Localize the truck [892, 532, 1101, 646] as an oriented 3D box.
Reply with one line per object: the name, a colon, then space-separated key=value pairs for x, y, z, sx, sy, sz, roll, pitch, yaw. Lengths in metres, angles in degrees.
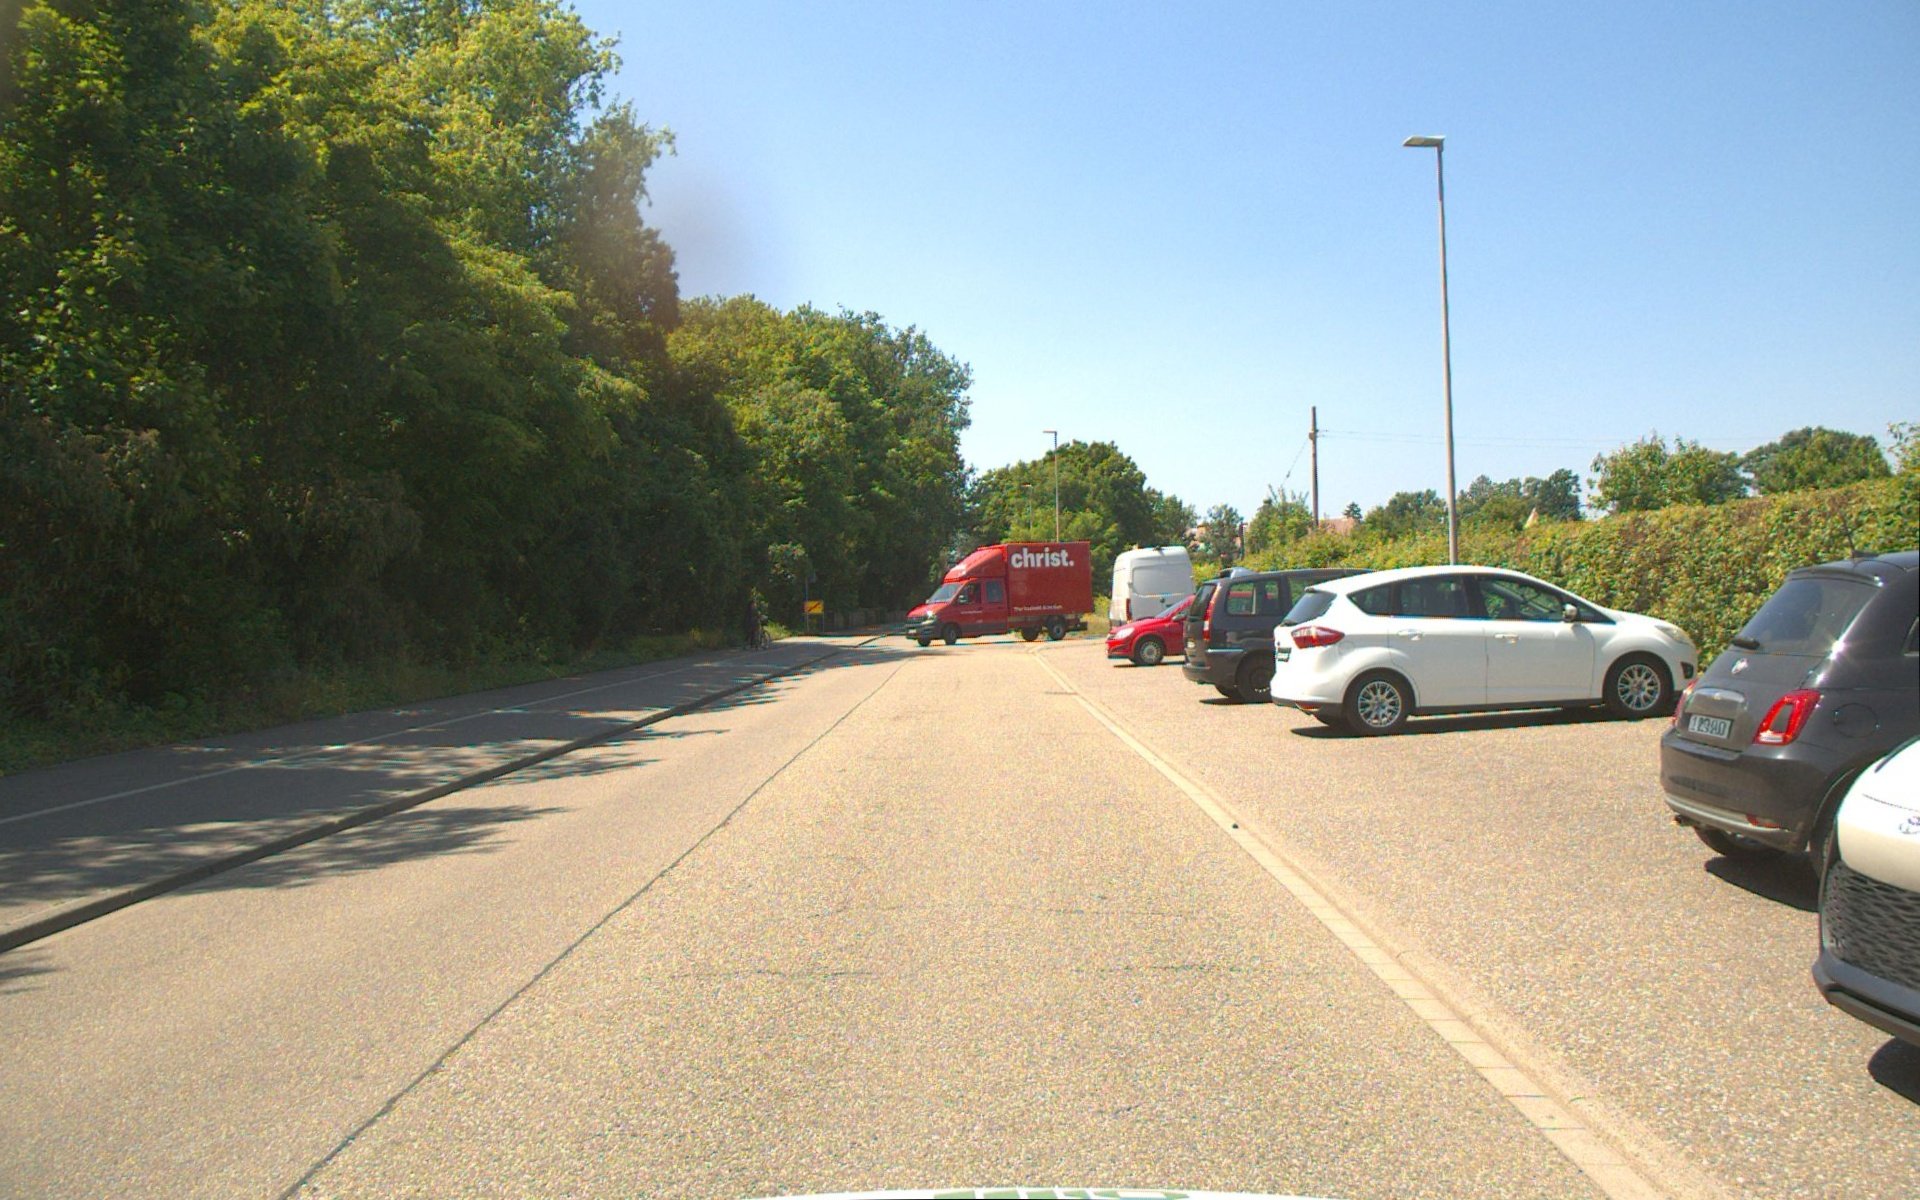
truck: x=1.352 y=-0.432 z=58.625 sx=7.060 sy=3.499 sz=2.308 roll=-5 pitch=2 yaw=-29

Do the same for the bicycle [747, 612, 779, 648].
bicycle: x=-7.021 y=1.052 z=58.917 sx=0.510 sy=1.258 sz=1.962 roll=0 pitch=-1 yaw=12

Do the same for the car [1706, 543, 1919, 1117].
car: x=4.505 y=0.470 z=4.663 sx=3.887 sy=1.549 sz=1.862 roll=-5 pitch=0 yaw=-6

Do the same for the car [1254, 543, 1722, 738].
car: x=5.342 y=0.391 z=17.096 sx=4.191 sy=1.605 sz=1.765 roll=-4 pitch=0 yaw=-2

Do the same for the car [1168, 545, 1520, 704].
car: x=5.333 y=0.337 z=23.349 sx=4.366 sy=1.836 sz=1.951 roll=-4 pitch=-1 yaw=-4

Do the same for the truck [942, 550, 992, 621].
truck: x=0.468 y=-0.779 z=96.532 sx=2.677 sy=3.811 sz=13.246 roll=-1 pitch=0 yaw=1

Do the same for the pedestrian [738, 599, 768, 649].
pedestrian: x=-7.370 y=0.855 z=58.920 sx=0.791 sy=1.748 sz=0.777 roll=-1 pitch=0 yaw=16

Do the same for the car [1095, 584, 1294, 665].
car: x=5.091 y=0.517 z=36.190 sx=3.973 sy=1.459 sz=1.835 roll=-4 pitch=0 yaw=-3

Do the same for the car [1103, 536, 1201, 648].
car: x=5.322 y=-0.234 z=46.714 sx=1.914 sy=2.780 sz=7.168 roll=-4 pitch=0 yaw=1

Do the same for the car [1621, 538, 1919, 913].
car: x=5.083 y=0.447 z=7.709 sx=3.317 sy=1.530 sz=1.589 roll=-4 pitch=0 yaw=3
